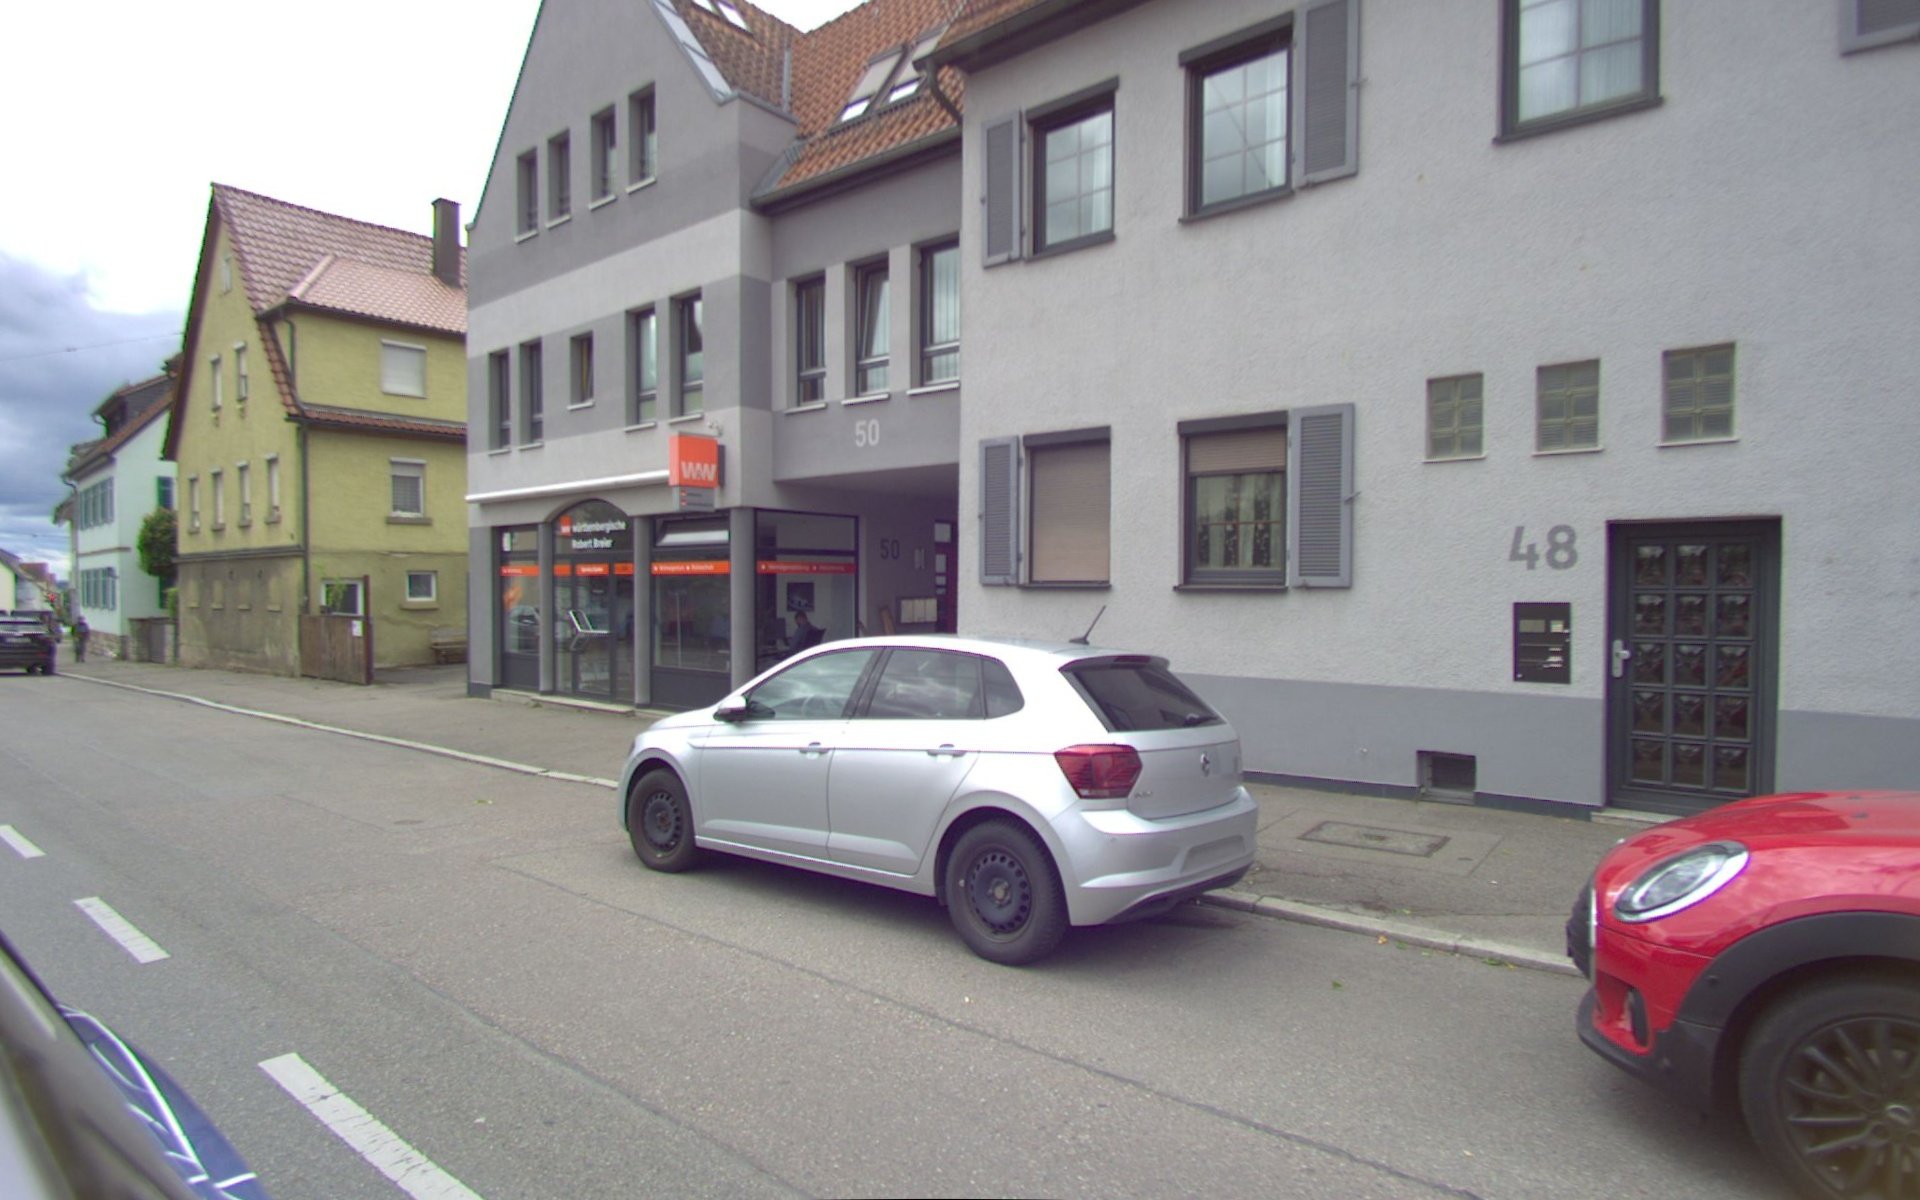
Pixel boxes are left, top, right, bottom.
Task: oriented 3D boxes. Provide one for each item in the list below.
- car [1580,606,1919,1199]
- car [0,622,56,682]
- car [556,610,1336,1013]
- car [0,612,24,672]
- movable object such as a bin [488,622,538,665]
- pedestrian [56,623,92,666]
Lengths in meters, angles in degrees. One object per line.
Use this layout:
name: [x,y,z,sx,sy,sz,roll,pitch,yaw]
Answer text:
car: [3.930,0.756,2.015,4.350,1.485,1.839,-2,-3,41]
car: [-27.048,1.431,28.548,4.348,1.580,1.696,-2,-1,40]
car: [-0.324,0.876,5.817,4.347,1.485,1.760,-2,-4,39]
car: [-31.788,1.336,32.433,4.348,1.863,2.085,-2,-1,40]
movable object such as a bin: [-11.563,1.112,26.181,0.839,1.081,0.914,-2,-1,41]
pedestrian: [-29.492,1.466,33.688,0.551,1.386,0.821,-2,-1,41]
